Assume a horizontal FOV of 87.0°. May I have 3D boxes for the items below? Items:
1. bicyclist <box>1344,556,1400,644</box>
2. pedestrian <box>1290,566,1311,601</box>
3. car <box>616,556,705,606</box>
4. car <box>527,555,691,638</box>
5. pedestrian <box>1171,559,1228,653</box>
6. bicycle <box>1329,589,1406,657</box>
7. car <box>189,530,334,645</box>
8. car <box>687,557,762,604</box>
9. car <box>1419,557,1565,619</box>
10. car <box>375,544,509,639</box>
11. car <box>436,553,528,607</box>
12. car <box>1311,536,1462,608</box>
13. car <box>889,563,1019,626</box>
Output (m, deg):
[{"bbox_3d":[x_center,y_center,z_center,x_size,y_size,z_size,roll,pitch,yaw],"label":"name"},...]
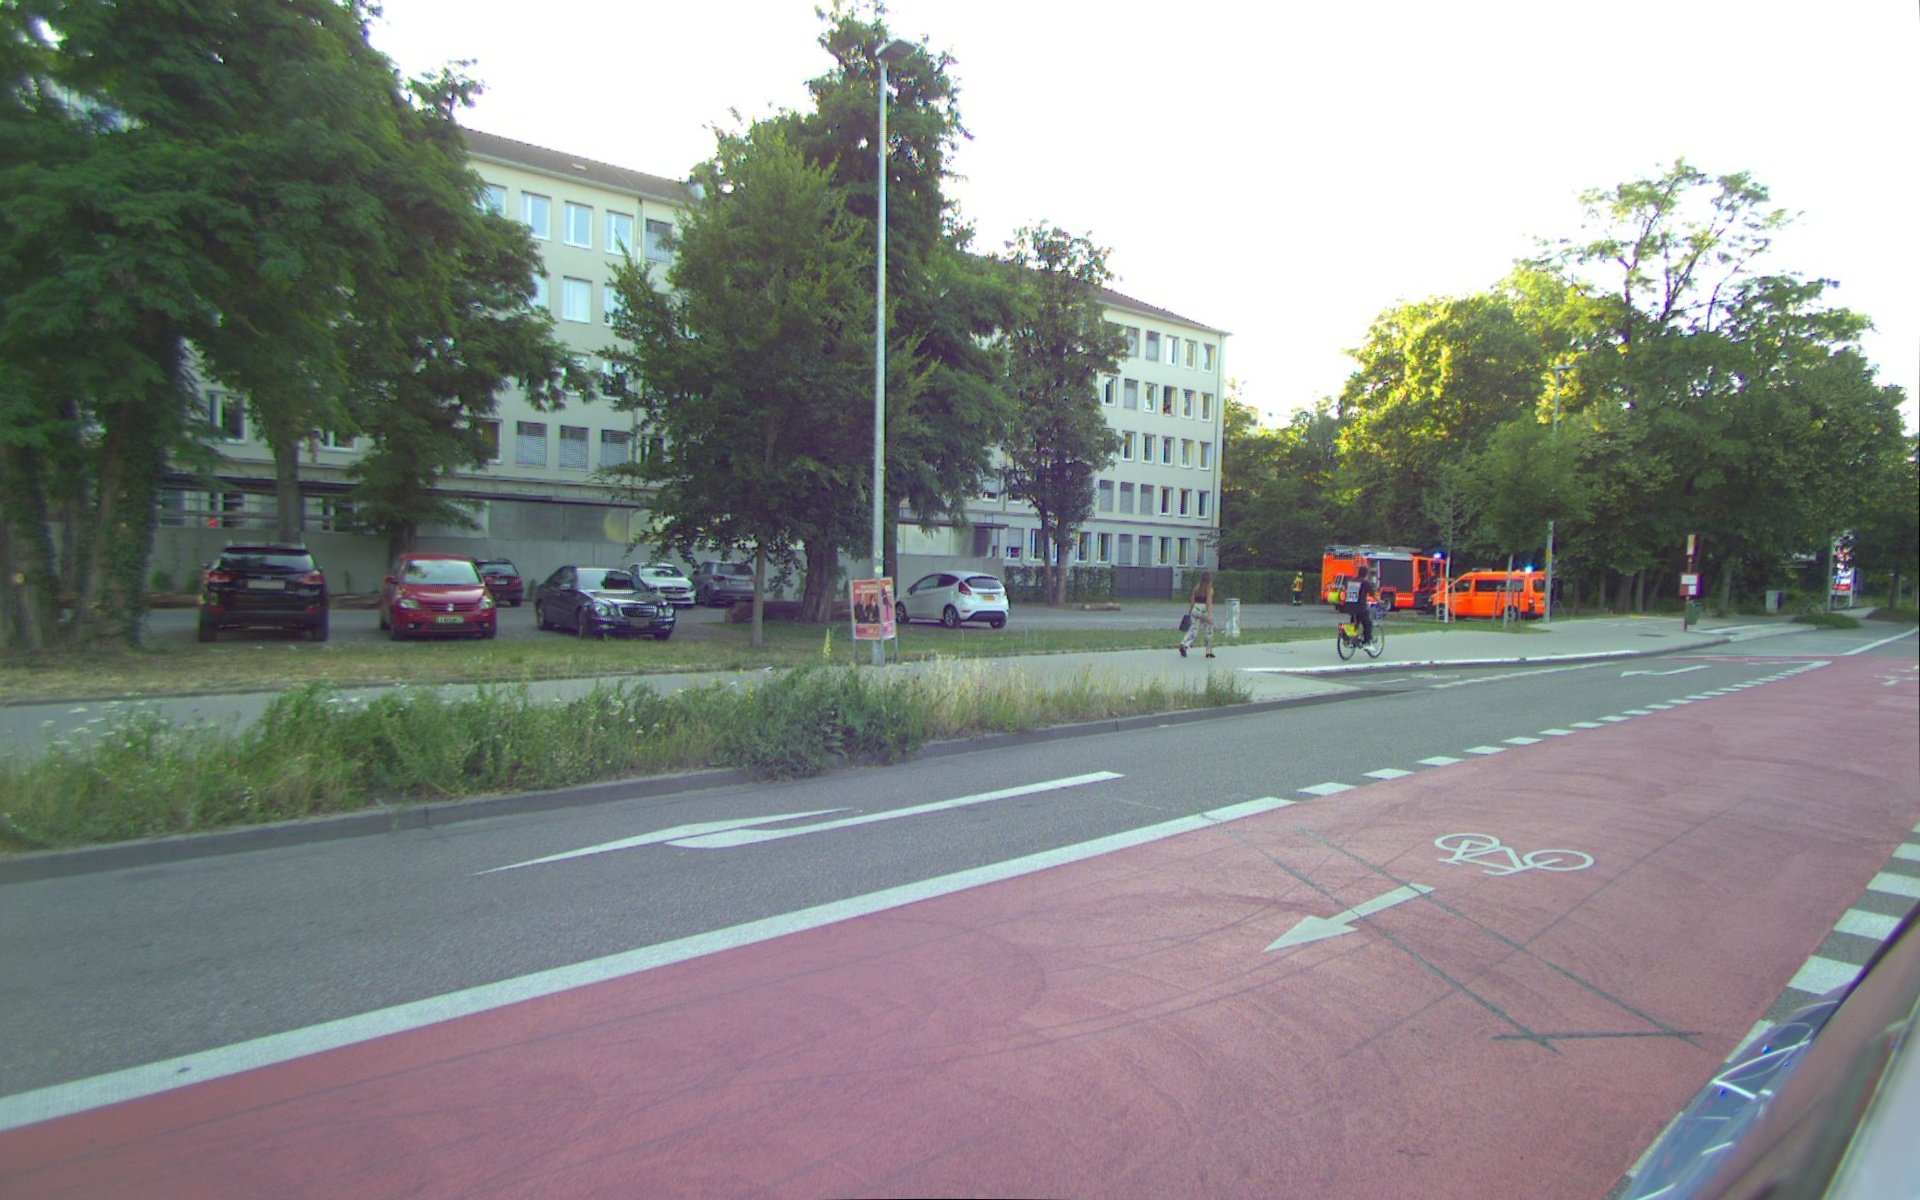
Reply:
[{"bbox_3d":[8.015,-0.009,19.689,1.019,1.652,0.571,0,2,-41],"label":"bicyclist"},{"bbox_3d":[18.643,-0.901,55.430,0.671,1.864,0.845,1,2,-40],"label":"pedestrian"},{"bbox_3d":[-10.020,-0.658,33.685,1.880,1.540,3.921,0,2,-32],"label":"car"},{"bbox_3d":[-7.386,-0.141,20.989,1.883,1.482,4.519,0,3,-37],"label":"car"},{"bbox_3d":[4.288,0.097,18.143,0.676,1.642,0.682,1,2,-41],"label":"pedestrian"},{"bbox_3d":[7.917,0.423,19.623,1.866,1.256,0.571,0,2,-41],"label":"bicycle"},{"bbox_3d":[-12.293,-0.291,17.863,1.882,1.761,4.241,0,2,-35],"label":"car"},{"bbox_3d":[-8.204,-0.700,35.083,1.734,1.477,3.320,1,2,-27],"label":"car"},{"bbox_3d":[22.778,-0.569,43.554,1.963,2.422,5.168,0,2,-37],"label":"car"},{"bbox_3d":[-10.111,-0.230,19.597,1.882,1.630,4.003,0,2,-33],"label":"car"},{"bbox_3d":[-14.528,-0.636,30.699,1.738,1.477,3.626,0,3,-38],"label":"car"},{"bbox_3d":[20.964,-1.349,49.517,8.138,3.283,2.775,0,2,-34],"label":"car"},{"bbox_3d":[-0.224,-0.190,26.855,1.633,1.477,3.667,0,2,-35],"label":"car"}]
